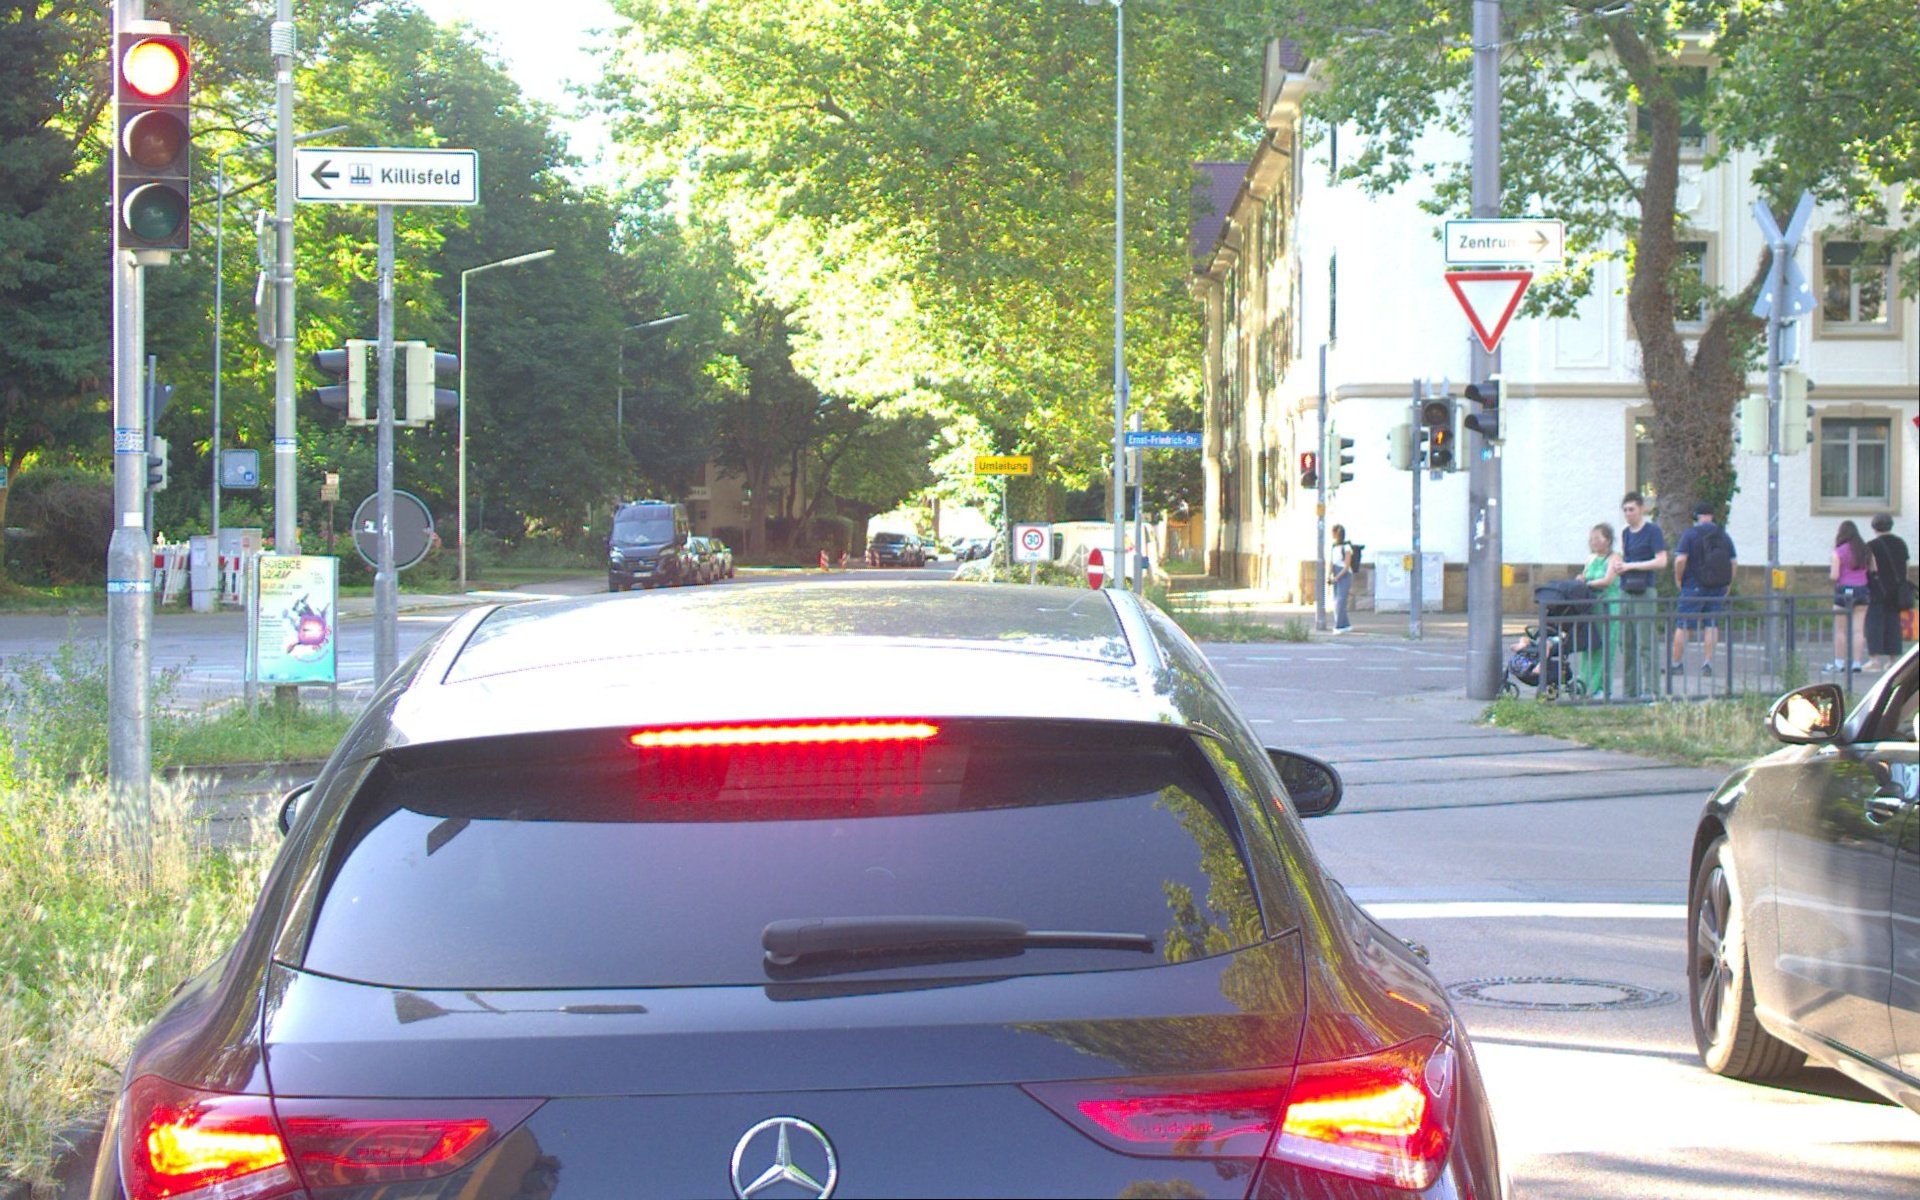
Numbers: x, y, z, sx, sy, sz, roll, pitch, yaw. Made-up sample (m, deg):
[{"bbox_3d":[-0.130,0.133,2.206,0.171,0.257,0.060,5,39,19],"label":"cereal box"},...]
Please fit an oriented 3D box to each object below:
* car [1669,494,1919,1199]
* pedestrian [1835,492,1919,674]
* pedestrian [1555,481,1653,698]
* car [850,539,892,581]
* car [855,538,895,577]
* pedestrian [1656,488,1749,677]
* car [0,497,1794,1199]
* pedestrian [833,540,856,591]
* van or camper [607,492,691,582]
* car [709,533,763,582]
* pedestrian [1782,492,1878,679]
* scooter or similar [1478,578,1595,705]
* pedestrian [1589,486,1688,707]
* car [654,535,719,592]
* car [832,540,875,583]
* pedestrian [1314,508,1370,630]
[{"bbox_3d":[2.844,0.578,7.349,1.889,1.485,4.381,1,3,2],"label":"car"},{"bbox_3d":[9.832,-0.179,36.667,0.705,1.911,0.839,1,0,-4],"label":"pedestrian"},{"bbox_3d":[5.783,-0.096,30.889,0.682,1.911,0.707,1,0,-4],"label":"pedestrian"},{"bbox_3d":[-3.880,-1.742,150.381,1.733,1.759,4.019,1,1,-1],"label":"car"},{"bbox_3d":[-3.903,-1.965,158.463,1.733,1.759,4.019,1,1,-1],"label":"car"},{"bbox_3d":[7.619,-0.185,35.312,0.705,1.911,0.839,1,0,-4],"label":"pedestrian"},{"bbox_3d":[-0.122,0.622,5.365,1.889,1.445,4.001,1,3,1],"label":"car"},{"bbox_3d":[-4.369,-1.320,130.025,0.705,1.911,0.839,1,0,-10],"label":"pedestrian"},{"bbox_3d":[-8.995,-1.801,99.736,1.993,2.532,4.651,1,1,0],"label":"van or camper"},{"bbox_3d":[-8.229,-1.562,126.401,1.733,1.759,3.971,1,1,-1],"label":"car"},{"bbox_3d":[9.021,-0.150,35.668,0.705,1.911,0.839,1,0,-4],"label":"pedestrian"},{"bbox_3d":[5.112,0.360,30.517,0.828,1.101,0.809,1,0,-6],"label":"scooter or similar"},{"bbox_3d":[5.941,-0.034,30.117,0.682,1.911,0.707,1,0,-2],"label":"pedestrian"},{"bbox_3d":[-8.692,-1.152,109.584,1.733,1.759,4.342,1,1,-1],"label":"car"},{"bbox_3d":[-4.484,-1.642,145.561,1.733,1.759,4.019,1,1,-1],"label":"car"},{"bbox_3d":[6.033,-0.492,54.337,0.705,1.911,0.839,1,0,-4],"label":"pedestrian"}]
